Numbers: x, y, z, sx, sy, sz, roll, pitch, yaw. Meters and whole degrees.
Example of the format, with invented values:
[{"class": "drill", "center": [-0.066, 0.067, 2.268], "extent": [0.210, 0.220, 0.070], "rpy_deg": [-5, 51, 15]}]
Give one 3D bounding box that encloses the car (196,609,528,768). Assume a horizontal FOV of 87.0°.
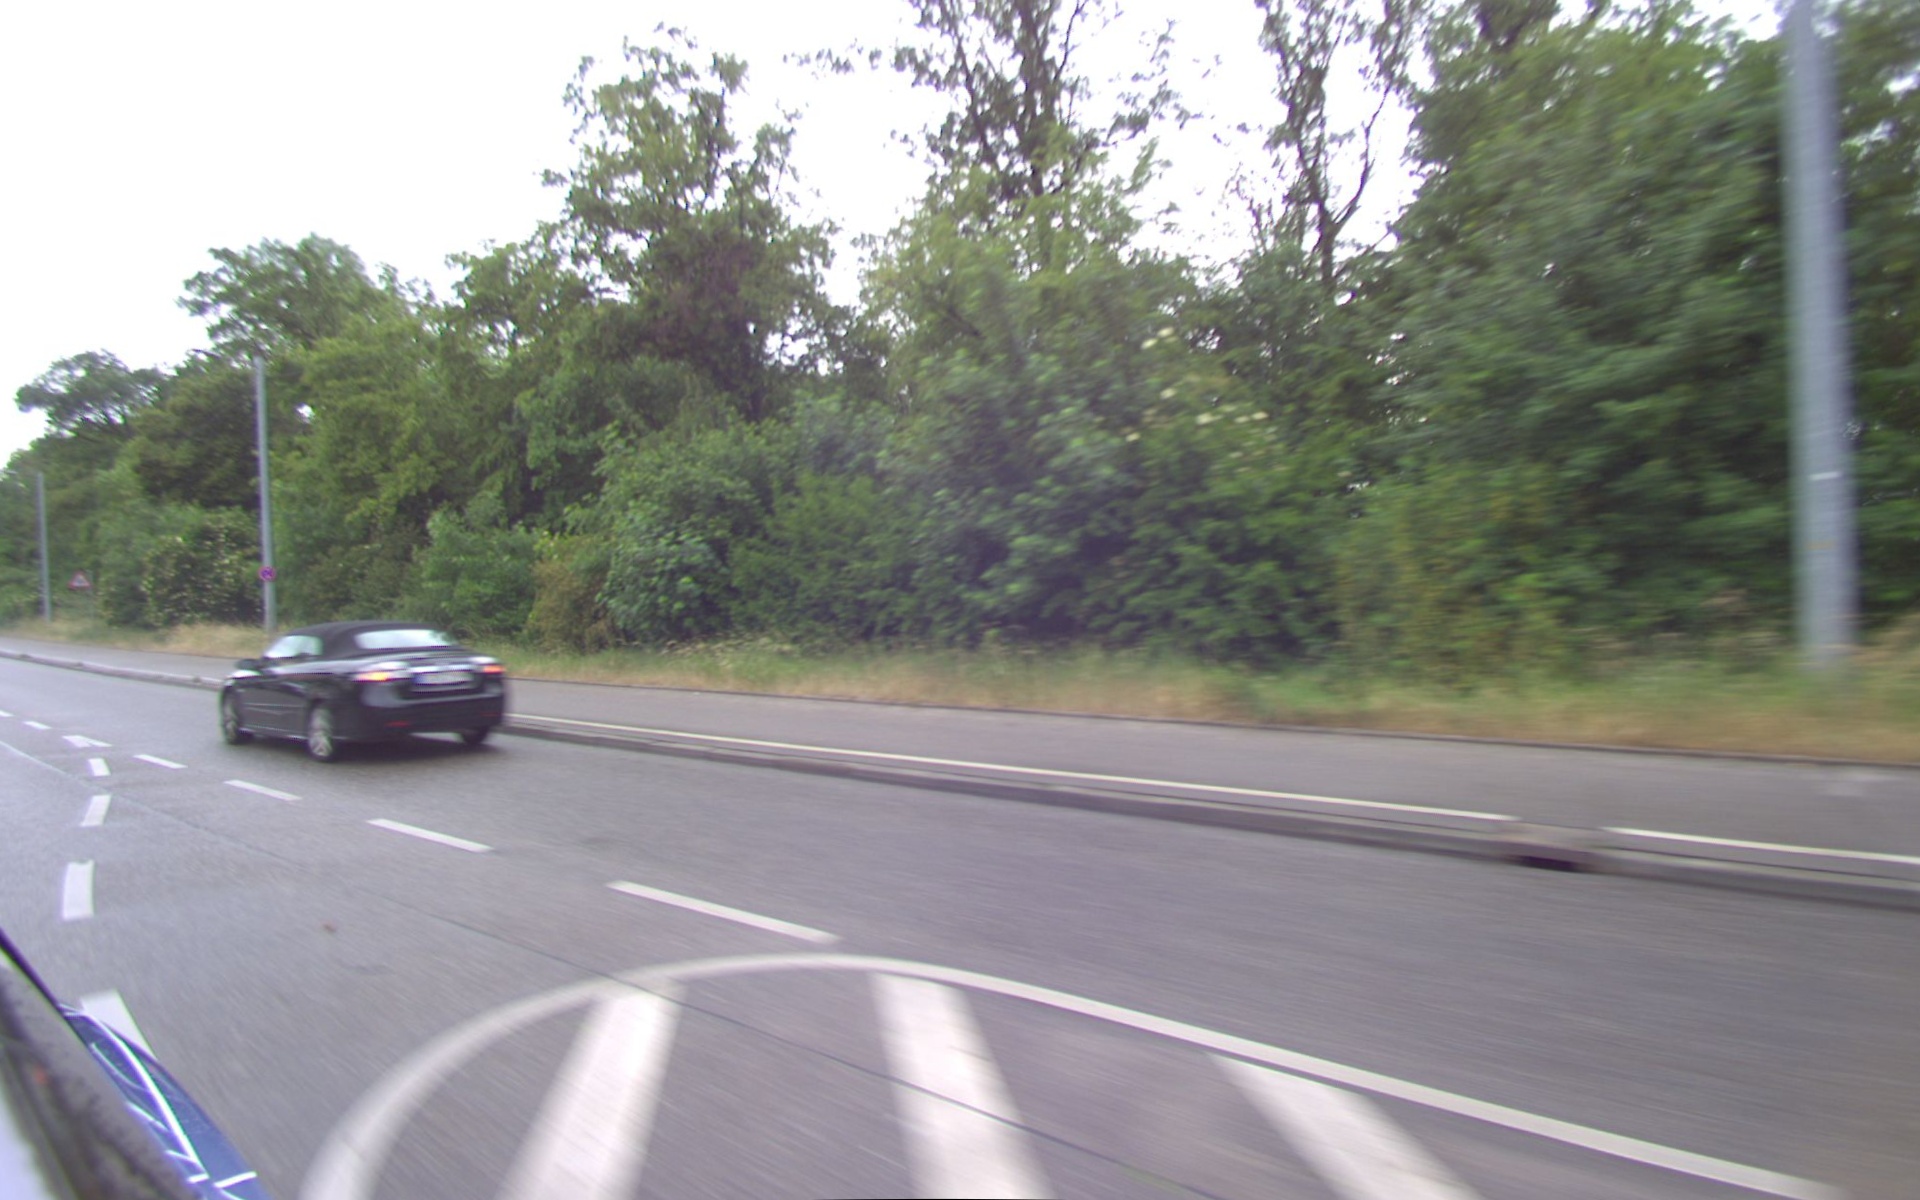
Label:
[{"class": "car", "center": [-6.924, 0.860, 11.538], "extent": [4.406, 1.471, 1.727], "rpy_deg": [-1, 0, 37]}]
